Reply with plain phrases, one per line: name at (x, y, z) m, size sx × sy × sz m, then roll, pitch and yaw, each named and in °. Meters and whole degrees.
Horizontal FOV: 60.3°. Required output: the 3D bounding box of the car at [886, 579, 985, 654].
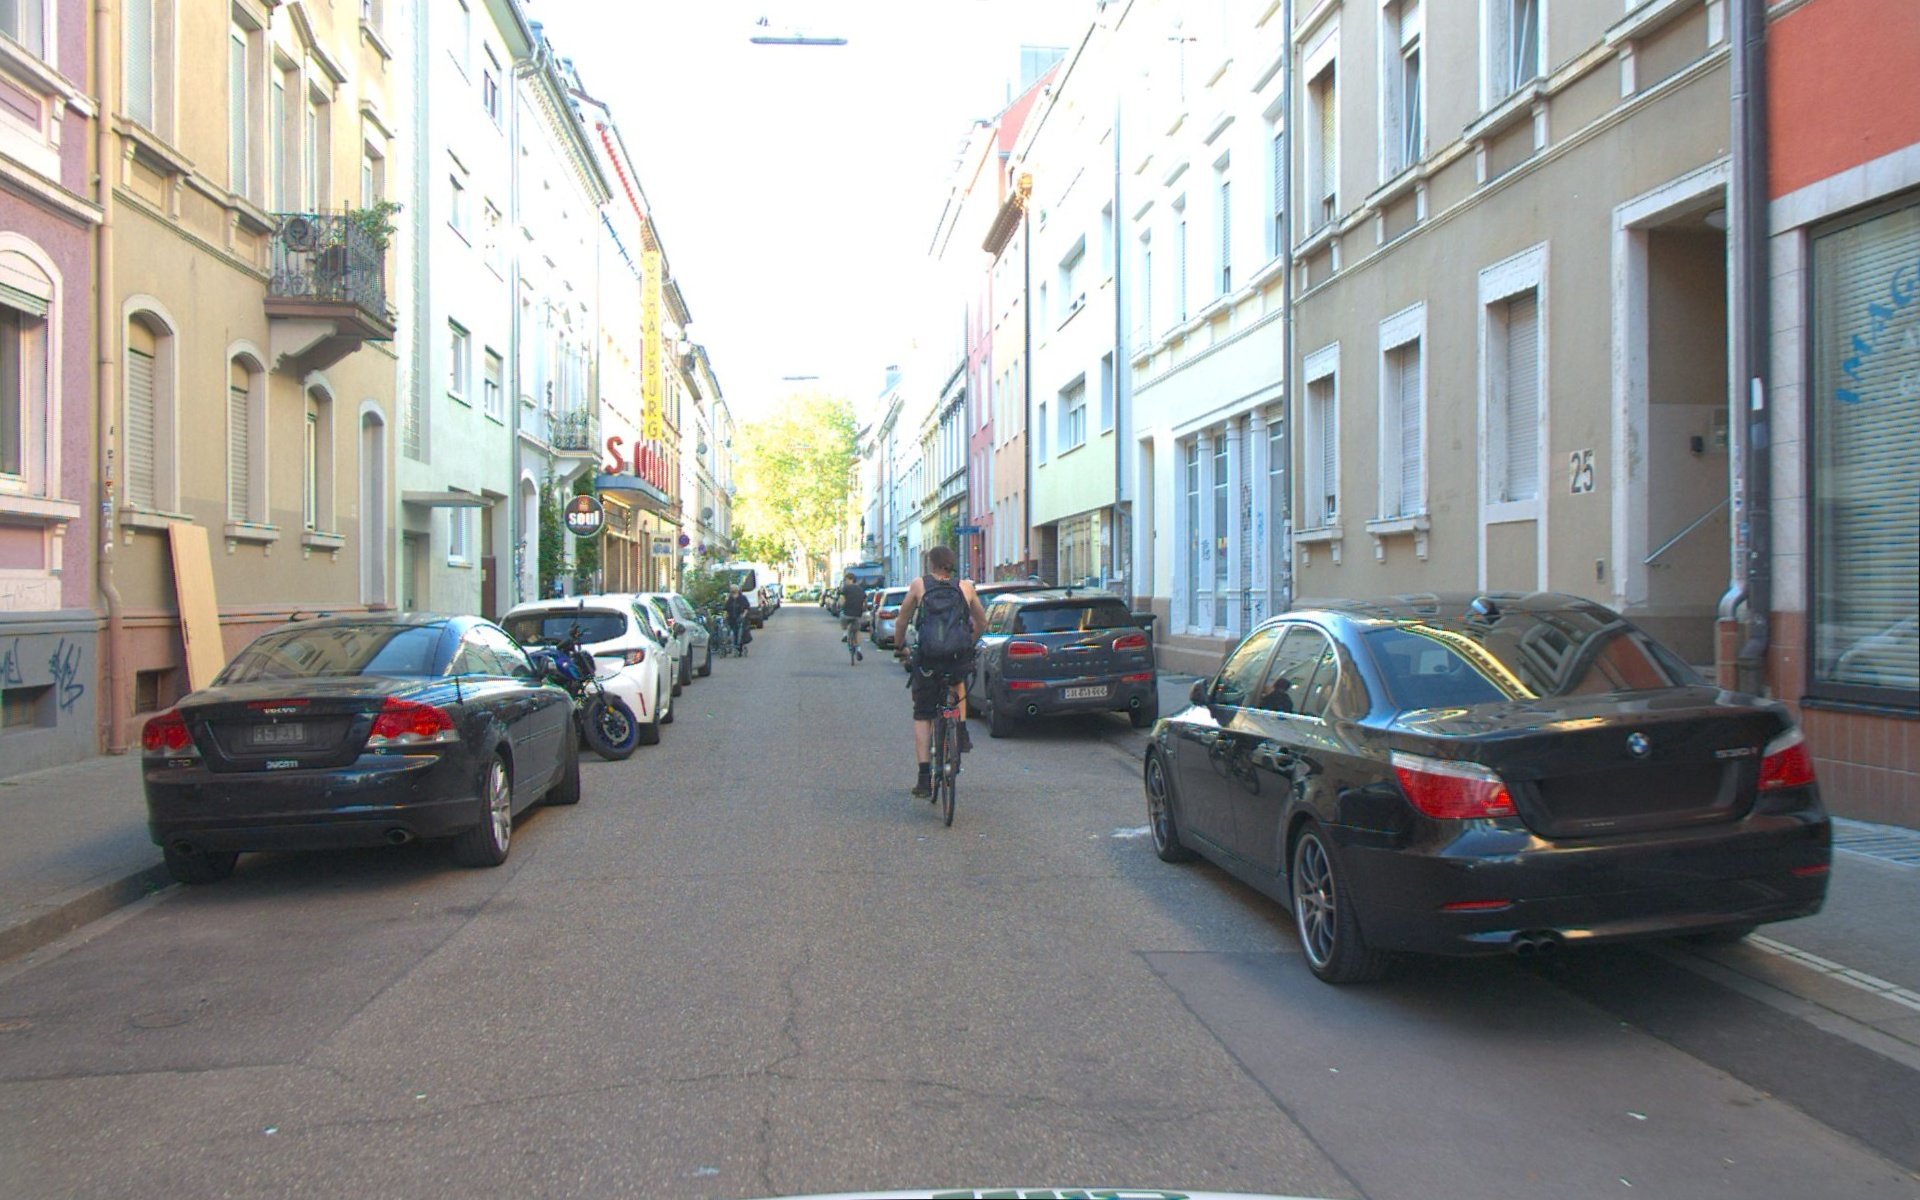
car at (-0.573, 0.324, 34.352) m, size 1.678 × 1.407 × 3.995 m, roll -2°, pitch 0°, yaw -6°

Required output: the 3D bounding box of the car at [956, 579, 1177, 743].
car at (1.055, 0.599, 18.409) m, size 1.782 × 1.547 × 3.995 m, roll -2°, pitch 0°, yaw -6°

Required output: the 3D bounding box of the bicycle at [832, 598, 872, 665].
bicycle at (-2.181, 0.615, 33.120) m, size 0.688 × 1.229 × 2.339 m, roll 1°, pitch 1°, yaw -6°

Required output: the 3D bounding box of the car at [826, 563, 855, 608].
car at (-10.788, -1.247, 148.748) m, size 2.263 × 3.833 × 6.761 m, roll -2°, pitch 0°, yaw -6°

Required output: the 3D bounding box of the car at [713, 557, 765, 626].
car at (-8.597, -0.340, 64.421) m, size 1.873 × 2.540 × 4.158 m, roll -1°, pitch 0°, yaw -8°

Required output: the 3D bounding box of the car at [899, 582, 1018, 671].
car at (-0.098, 0.439, 29.405) m, size 1.678 × 1.407 × 3.995 m, roll -2°, pitch 0°, yaw -6°

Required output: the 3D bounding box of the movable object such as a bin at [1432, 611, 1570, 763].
movable object such as a bin at (4.183, 0.659, 12.824) m, size 0.791 × 1.094 × 0.677 m, roll -3°, pitch 0°, yaw -1°

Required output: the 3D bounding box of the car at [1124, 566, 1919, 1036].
car at (2.156, 0.657, 7.882) m, size 1.782 × 1.463 × 4.785 m, roll -2°, pitch 0°, yaw -6°

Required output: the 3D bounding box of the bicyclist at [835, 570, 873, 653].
bicyclist at (-2.128, 0.223, 33.121) m, size 0.688 × 1.633 × 0.812 m, roll 1°, pitch 1°, yaw -6°

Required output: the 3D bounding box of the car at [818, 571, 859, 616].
car at (-7.478, -0.392, 101.508) m, size 2.263 × 2.582 × 6.761 m, roll -2°, pitch 0°, yaw -6°

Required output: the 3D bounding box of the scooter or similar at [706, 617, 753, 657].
scooter or similar at (-5.183, 0.831, 37.167) m, size 0.764 × 0.888 × 0.761 m, roll 1°, pitch -1°, yaw -42°

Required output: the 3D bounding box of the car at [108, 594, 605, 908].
car at (-3.384, 0.720, 10.198) m, size 1.676 × 1.407 × 4.353 m, roll -1°, pitch 1°, yaw -3°

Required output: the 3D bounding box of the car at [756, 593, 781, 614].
car at (-13.856, 0.248, 119.830) m, size 1.640 × 1.467 × 4.160 m, roll -2°, pitch 0°, yaw -6°

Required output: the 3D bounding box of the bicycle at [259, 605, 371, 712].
bicycle at (-7.116, 0.612, 18.344) m, size 0.581 × 1.108 × 2.076 m, roll 1°, pitch 0°, yaw -5°

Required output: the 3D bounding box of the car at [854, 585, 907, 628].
car at (-2.949, 0.244, 60.894) m, size 1.678 × 1.472 × 3.995 m, roll -2°, pitch 0°, yaw -6°

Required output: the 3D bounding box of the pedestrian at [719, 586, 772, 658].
pedestrian at (-4.864, 0.489, 37.471) m, size 0.892 × 1.606 × 0.761 m, roll 1°, pitch -1°, yaw -42°

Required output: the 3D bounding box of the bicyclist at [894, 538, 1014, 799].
bicyclist at (-0.058, 0.441, 11.140) m, size 0.688 × 1.662 × 1.089 m, roll 1°, pitch 0°, yaw -6°

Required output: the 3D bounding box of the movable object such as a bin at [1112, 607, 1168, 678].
movable object such as a bin at (2.939, 0.682, 27.048) m, size 0.791 × 1.094 × 0.677 m, roll -3°, pitch 0°, yaw -1°

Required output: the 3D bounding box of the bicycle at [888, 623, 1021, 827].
bicycle at (-0.083, 0.790, 11.388) m, size 0.688 × 1.229 × 2.339 m, roll 1°, pitch 0°, yaw -5°

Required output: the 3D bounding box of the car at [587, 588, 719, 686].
car at (-5.066, 0.571, 27.714) m, size 1.639 × 1.467 × 3.751 m, roll -2°, pitch 0°, yaw -3°

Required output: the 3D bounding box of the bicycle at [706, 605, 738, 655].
bicycle at (-5.676, 0.698, 39.344) m, size 0.686 × 1.125 × 2.269 m, roll 1°, pitch 0°, yaw -9°

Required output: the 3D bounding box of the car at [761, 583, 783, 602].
car at (-15.046, -0.608, 132.340) m, size 1.640 × 1.467 × 4.160 m, roll -2°, pitch 0°, yaw -6°

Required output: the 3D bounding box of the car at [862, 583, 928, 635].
car at (-1.976, 0.246, 49.383) m, size 1.678 × 1.418 × 3.995 m, roll -2°, pitch 0°, yaw -6°

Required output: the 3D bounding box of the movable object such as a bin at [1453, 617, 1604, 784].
movable object such as a bin at (4.015, 0.689, 11.705) m, size 0.723 × 1.094 × 0.675 m, roll -3°, pitch 0°, yaw -12°

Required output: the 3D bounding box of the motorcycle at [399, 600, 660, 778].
motorcycle at (-3.786, 0.753, 14.617) m, size 2.118 × 1.383 × 0.536 m, roll -3°, pitch 1°, yaw -24°

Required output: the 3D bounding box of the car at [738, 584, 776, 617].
car at (-9.628, 0.029, 78.779) m, size 1.640 × 1.467 × 4.160 m, roll -2°, pitch 0°, yaw -6°

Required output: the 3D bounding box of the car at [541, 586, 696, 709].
car at (-4.599, 0.597, 22.710) m, size 1.640 × 1.467 × 3.763 m, roll -2°, pitch 0°, yaw -6°

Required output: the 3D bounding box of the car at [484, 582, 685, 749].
car at (-3.813, 0.606, 17.363) m, size 1.641 × 1.467 × 4.158 m, roll -2°, pitch 0°, yaw -8°

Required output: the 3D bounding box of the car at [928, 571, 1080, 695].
car at (0.550, 0.437, 24.148) m, size 1.678 × 1.583 × 3.995 m, roll -2°, pitch 0°, yaw -6°

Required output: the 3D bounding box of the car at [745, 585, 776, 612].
car at (-11.700, -0.079, 97.203) m, size 1.640 × 1.467 × 4.160 m, roll -2°, pitch 0°, yaw -6°

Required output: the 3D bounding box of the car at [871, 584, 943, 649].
car at (-1.454, 0.423, 43.961) m, size 1.589 × 1.577 × 3.995 m, roll -2°, pitch 0°, yaw -6°

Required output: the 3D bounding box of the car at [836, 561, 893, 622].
car at (-4.445, -0.372, 76.269) m, size 2.263 × 2.582 × 6.761 m, roll -2°, pitch 0°, yaw -6°
